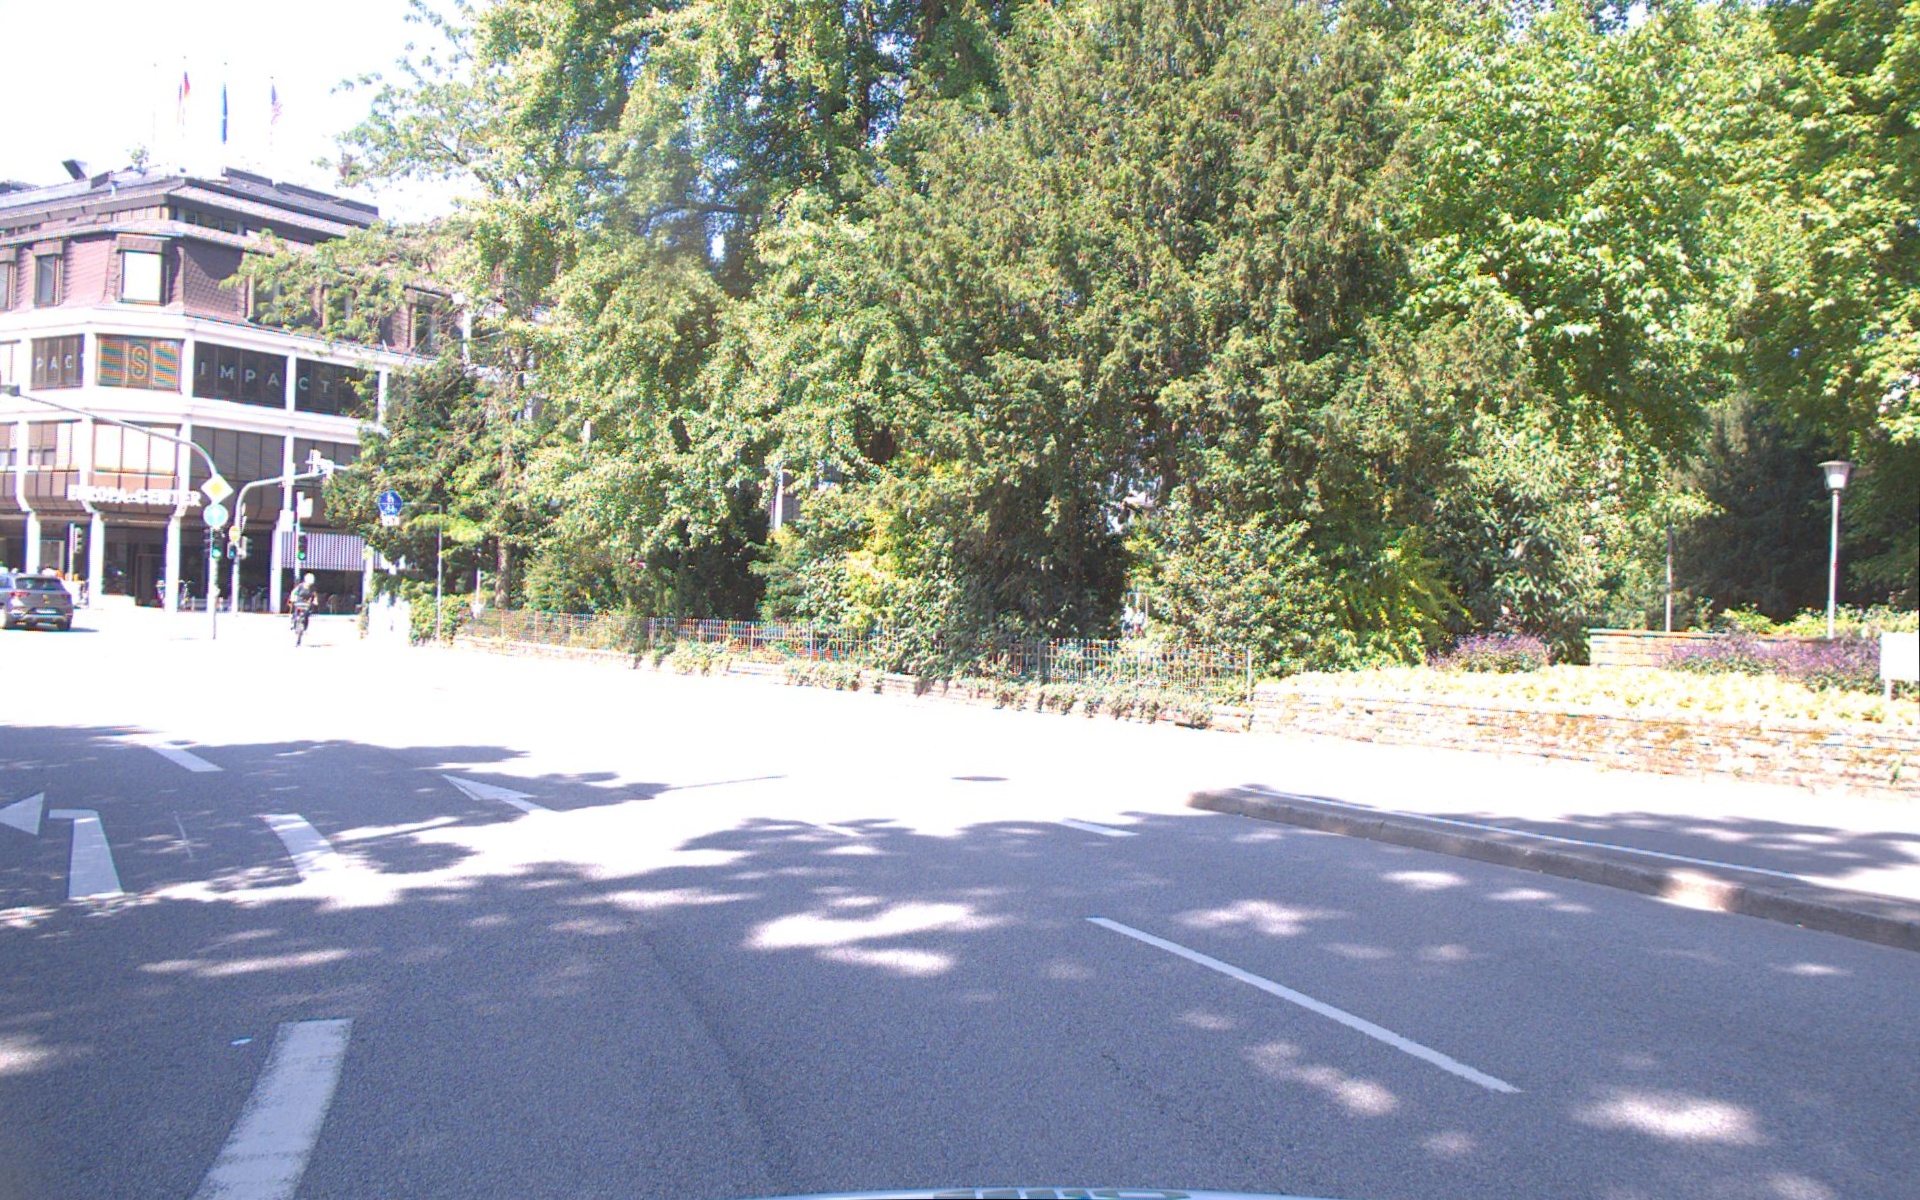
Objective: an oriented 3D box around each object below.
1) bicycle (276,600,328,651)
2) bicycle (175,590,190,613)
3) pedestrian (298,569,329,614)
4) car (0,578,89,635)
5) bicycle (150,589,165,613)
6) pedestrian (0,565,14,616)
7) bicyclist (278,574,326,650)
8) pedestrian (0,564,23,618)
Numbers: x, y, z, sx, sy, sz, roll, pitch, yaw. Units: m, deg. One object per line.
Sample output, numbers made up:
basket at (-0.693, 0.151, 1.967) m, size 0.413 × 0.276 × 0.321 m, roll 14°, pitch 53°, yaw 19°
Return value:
bicycle at (-16.377, 0.625, 41.148) m, size 0.845 × 1.180 × 2.061 m, roll 2°, pitch 0°, yaw -31°
bicycle at (-31.002, 0.062, 65.955) m, size 0.501 × 0.917 × 1.509 m, roll 2°, pitch 0°, yaw -26°
pedestrian at (-29.883, -0.374, 76.443) m, size 0.847 × 2.049 × 0.982 m, roll 1°, pitch -1°, yaw 39°
car at (-26.768, 0.163, 47.379) m, size 4.009 × 1.564 × 1.942 m, roll 1°, pitch 0°, yaw 42°
bicycle at (-31.786, 0.026, 65.534) m, size 0.501 × 0.917 × 1.509 m, roll 2°, pitch 0°, yaw -26°
pedestrian at (-35.373, -0.349, 60.766) m, size 0.814 × 1.844 × 0.770 m, roll 2°, pitch 0°, yaw 39°
bicyclist at (-16.352, 0.293, 41.115) m, size 0.850 × 1.827 × 1.117 m, roll 3°, pitch 0°, yaw -32°
pedestrian at (-33.191, -0.304, 57.482) m, size 0.814 × 1.844 × 0.770 m, roll 2°, pitch 0°, yaw 39°
